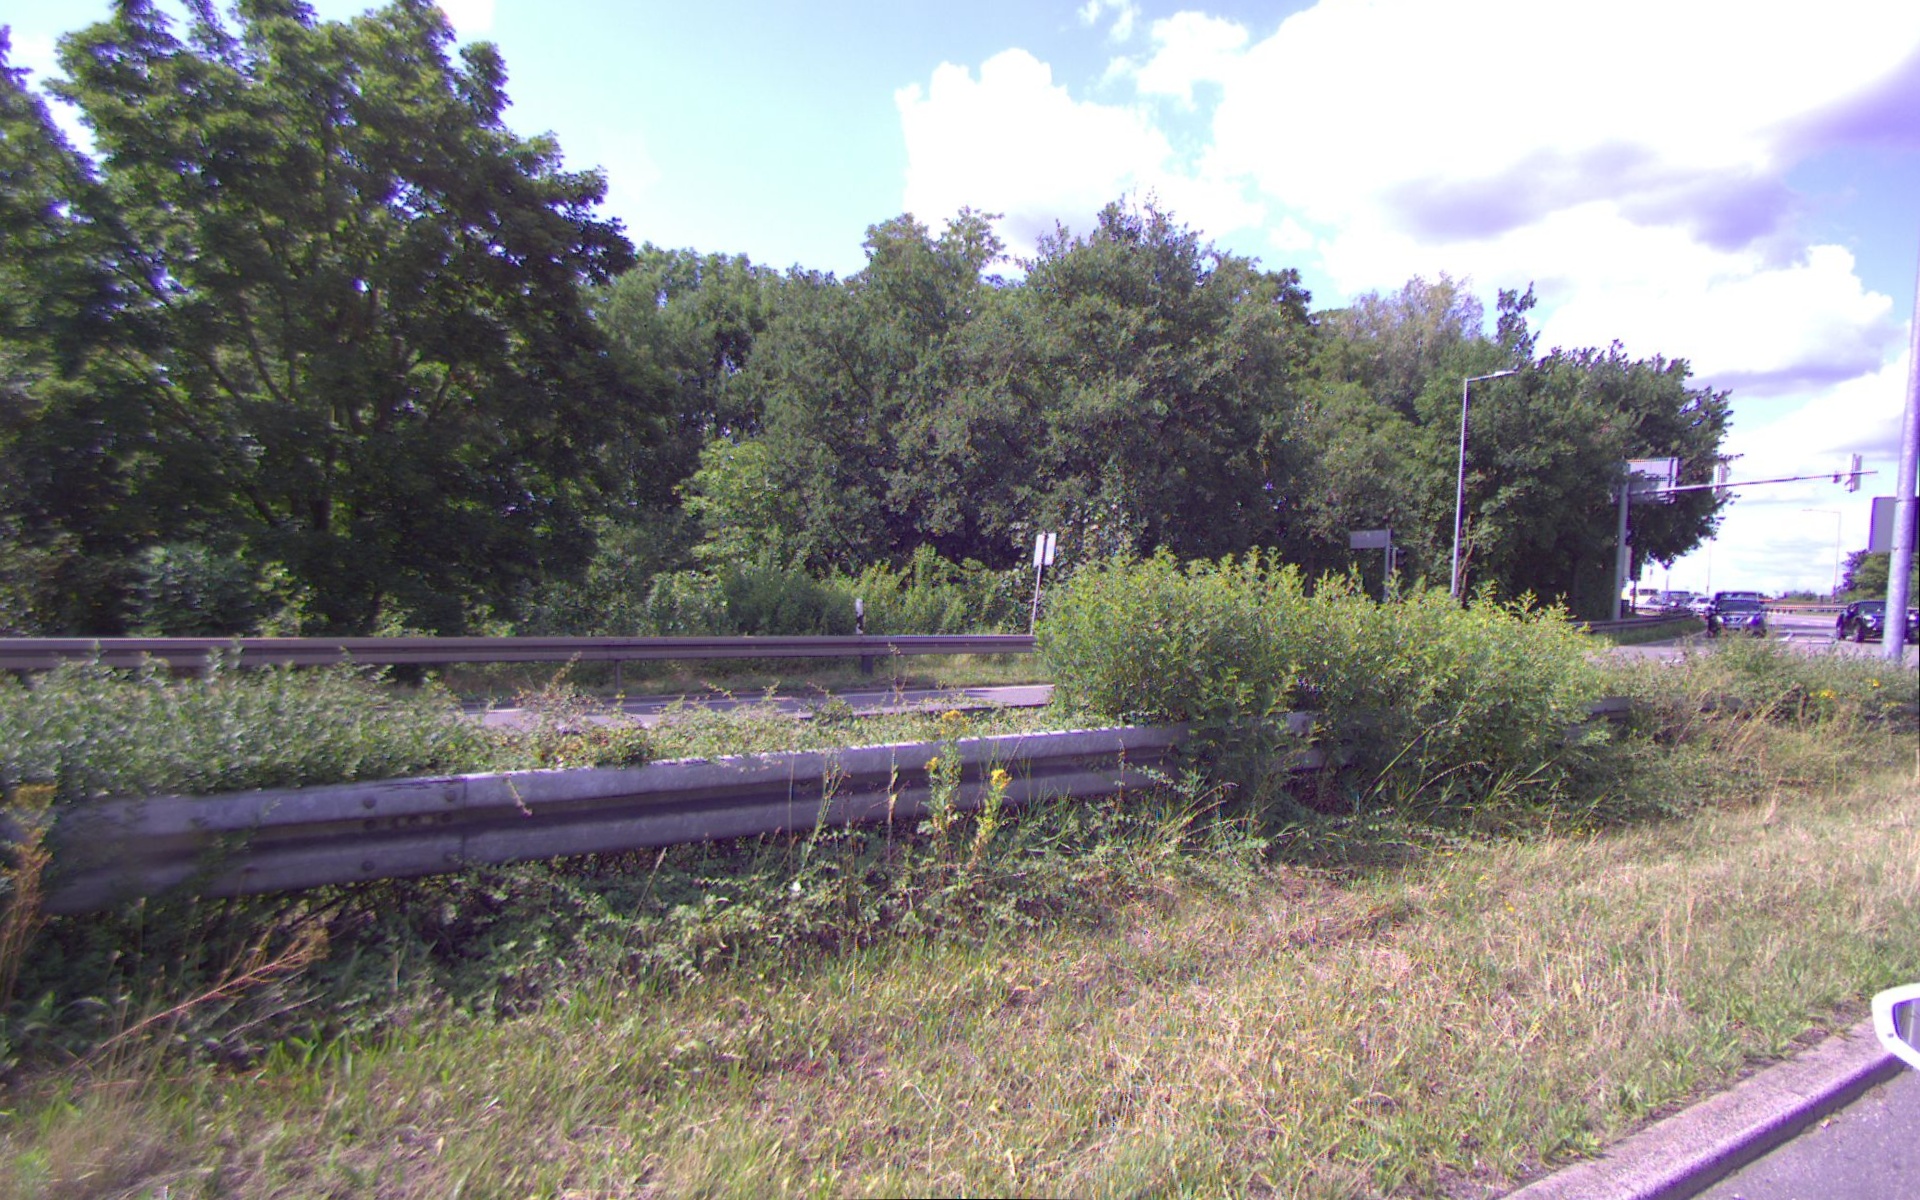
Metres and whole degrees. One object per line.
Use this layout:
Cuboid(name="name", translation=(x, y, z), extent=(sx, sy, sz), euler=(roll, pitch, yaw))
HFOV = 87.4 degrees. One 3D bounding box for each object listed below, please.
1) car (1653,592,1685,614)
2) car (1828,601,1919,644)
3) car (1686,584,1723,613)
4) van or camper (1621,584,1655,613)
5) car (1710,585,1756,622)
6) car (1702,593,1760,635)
Cuboid(name="car", translation=(58.868, 0.208, 83.446), extent=(1.817, 1.728, 4.317), euler=(2, 1, 31))
Cuboid(name="car", translation=(34.248, 0.789, 37.652), extent=(1.919, 1.437, 3.960), euler=(2, 1, 32))
Cuboid(name="car", translation=(54.098, -0.078, 73.015), extent=(1.817, 2.005, 4.314), euler=(2, 1, 33))
Cuboid(name="van or camper", translation=(65.562, -0.158, 97.197), extent=(1.963, 2.719, 6.853), euler=(2, 1, 28))
Cuboid(name="car", translation=(41.230, 0.183, 53.565), extent=(1.820, 1.826, 4.308), euler=(2, 1, 38))
Cuboid(name="car", translation=(32.077, 0.595, 41.767), extent=(1.816, 1.639, 3.983), euler=(2, 0, 39))
